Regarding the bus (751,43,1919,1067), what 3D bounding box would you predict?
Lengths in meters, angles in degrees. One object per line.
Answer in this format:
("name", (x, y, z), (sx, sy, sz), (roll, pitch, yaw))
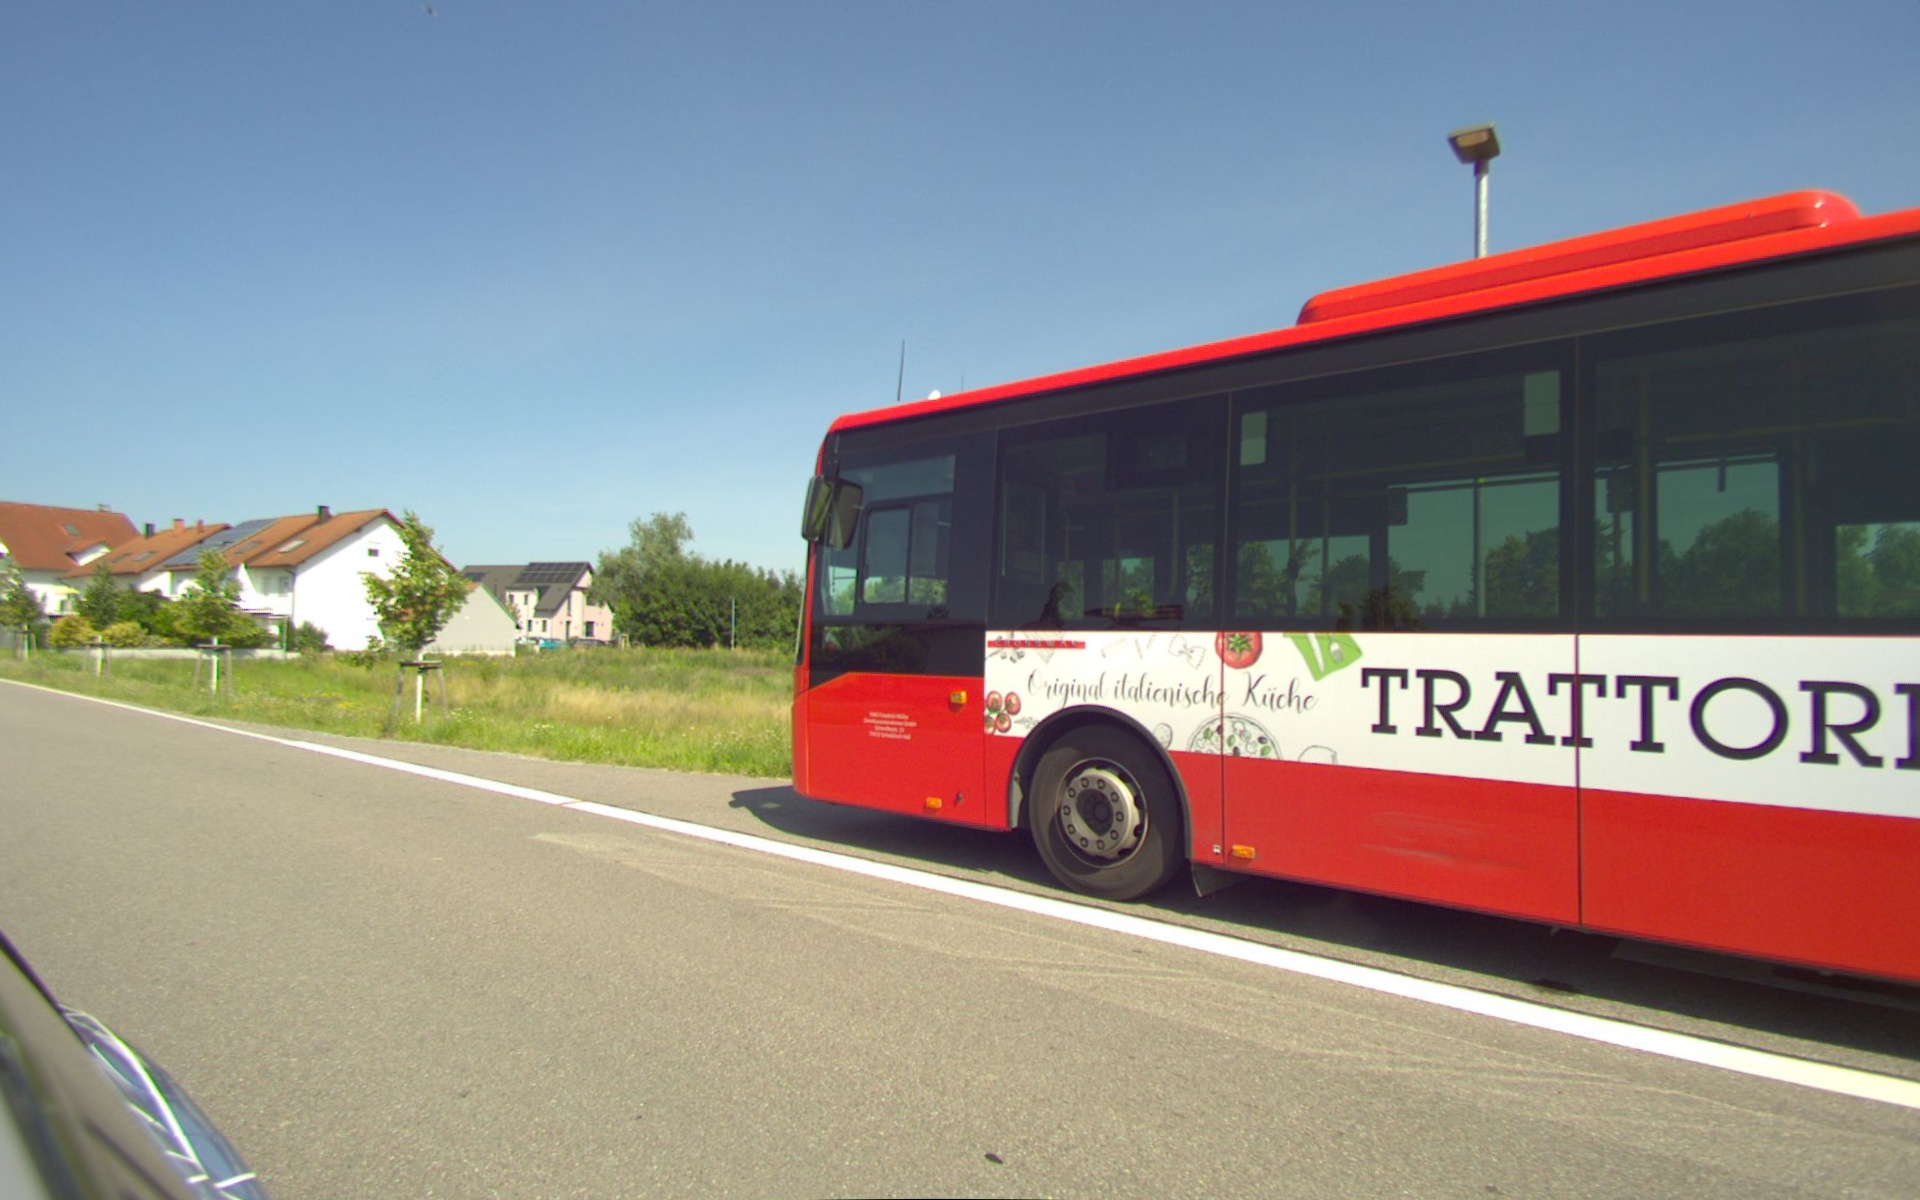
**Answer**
("bus", (4.122, -0.130, 4.215), (12.218, 3.312, 2.766), (-1, -2, 40))
